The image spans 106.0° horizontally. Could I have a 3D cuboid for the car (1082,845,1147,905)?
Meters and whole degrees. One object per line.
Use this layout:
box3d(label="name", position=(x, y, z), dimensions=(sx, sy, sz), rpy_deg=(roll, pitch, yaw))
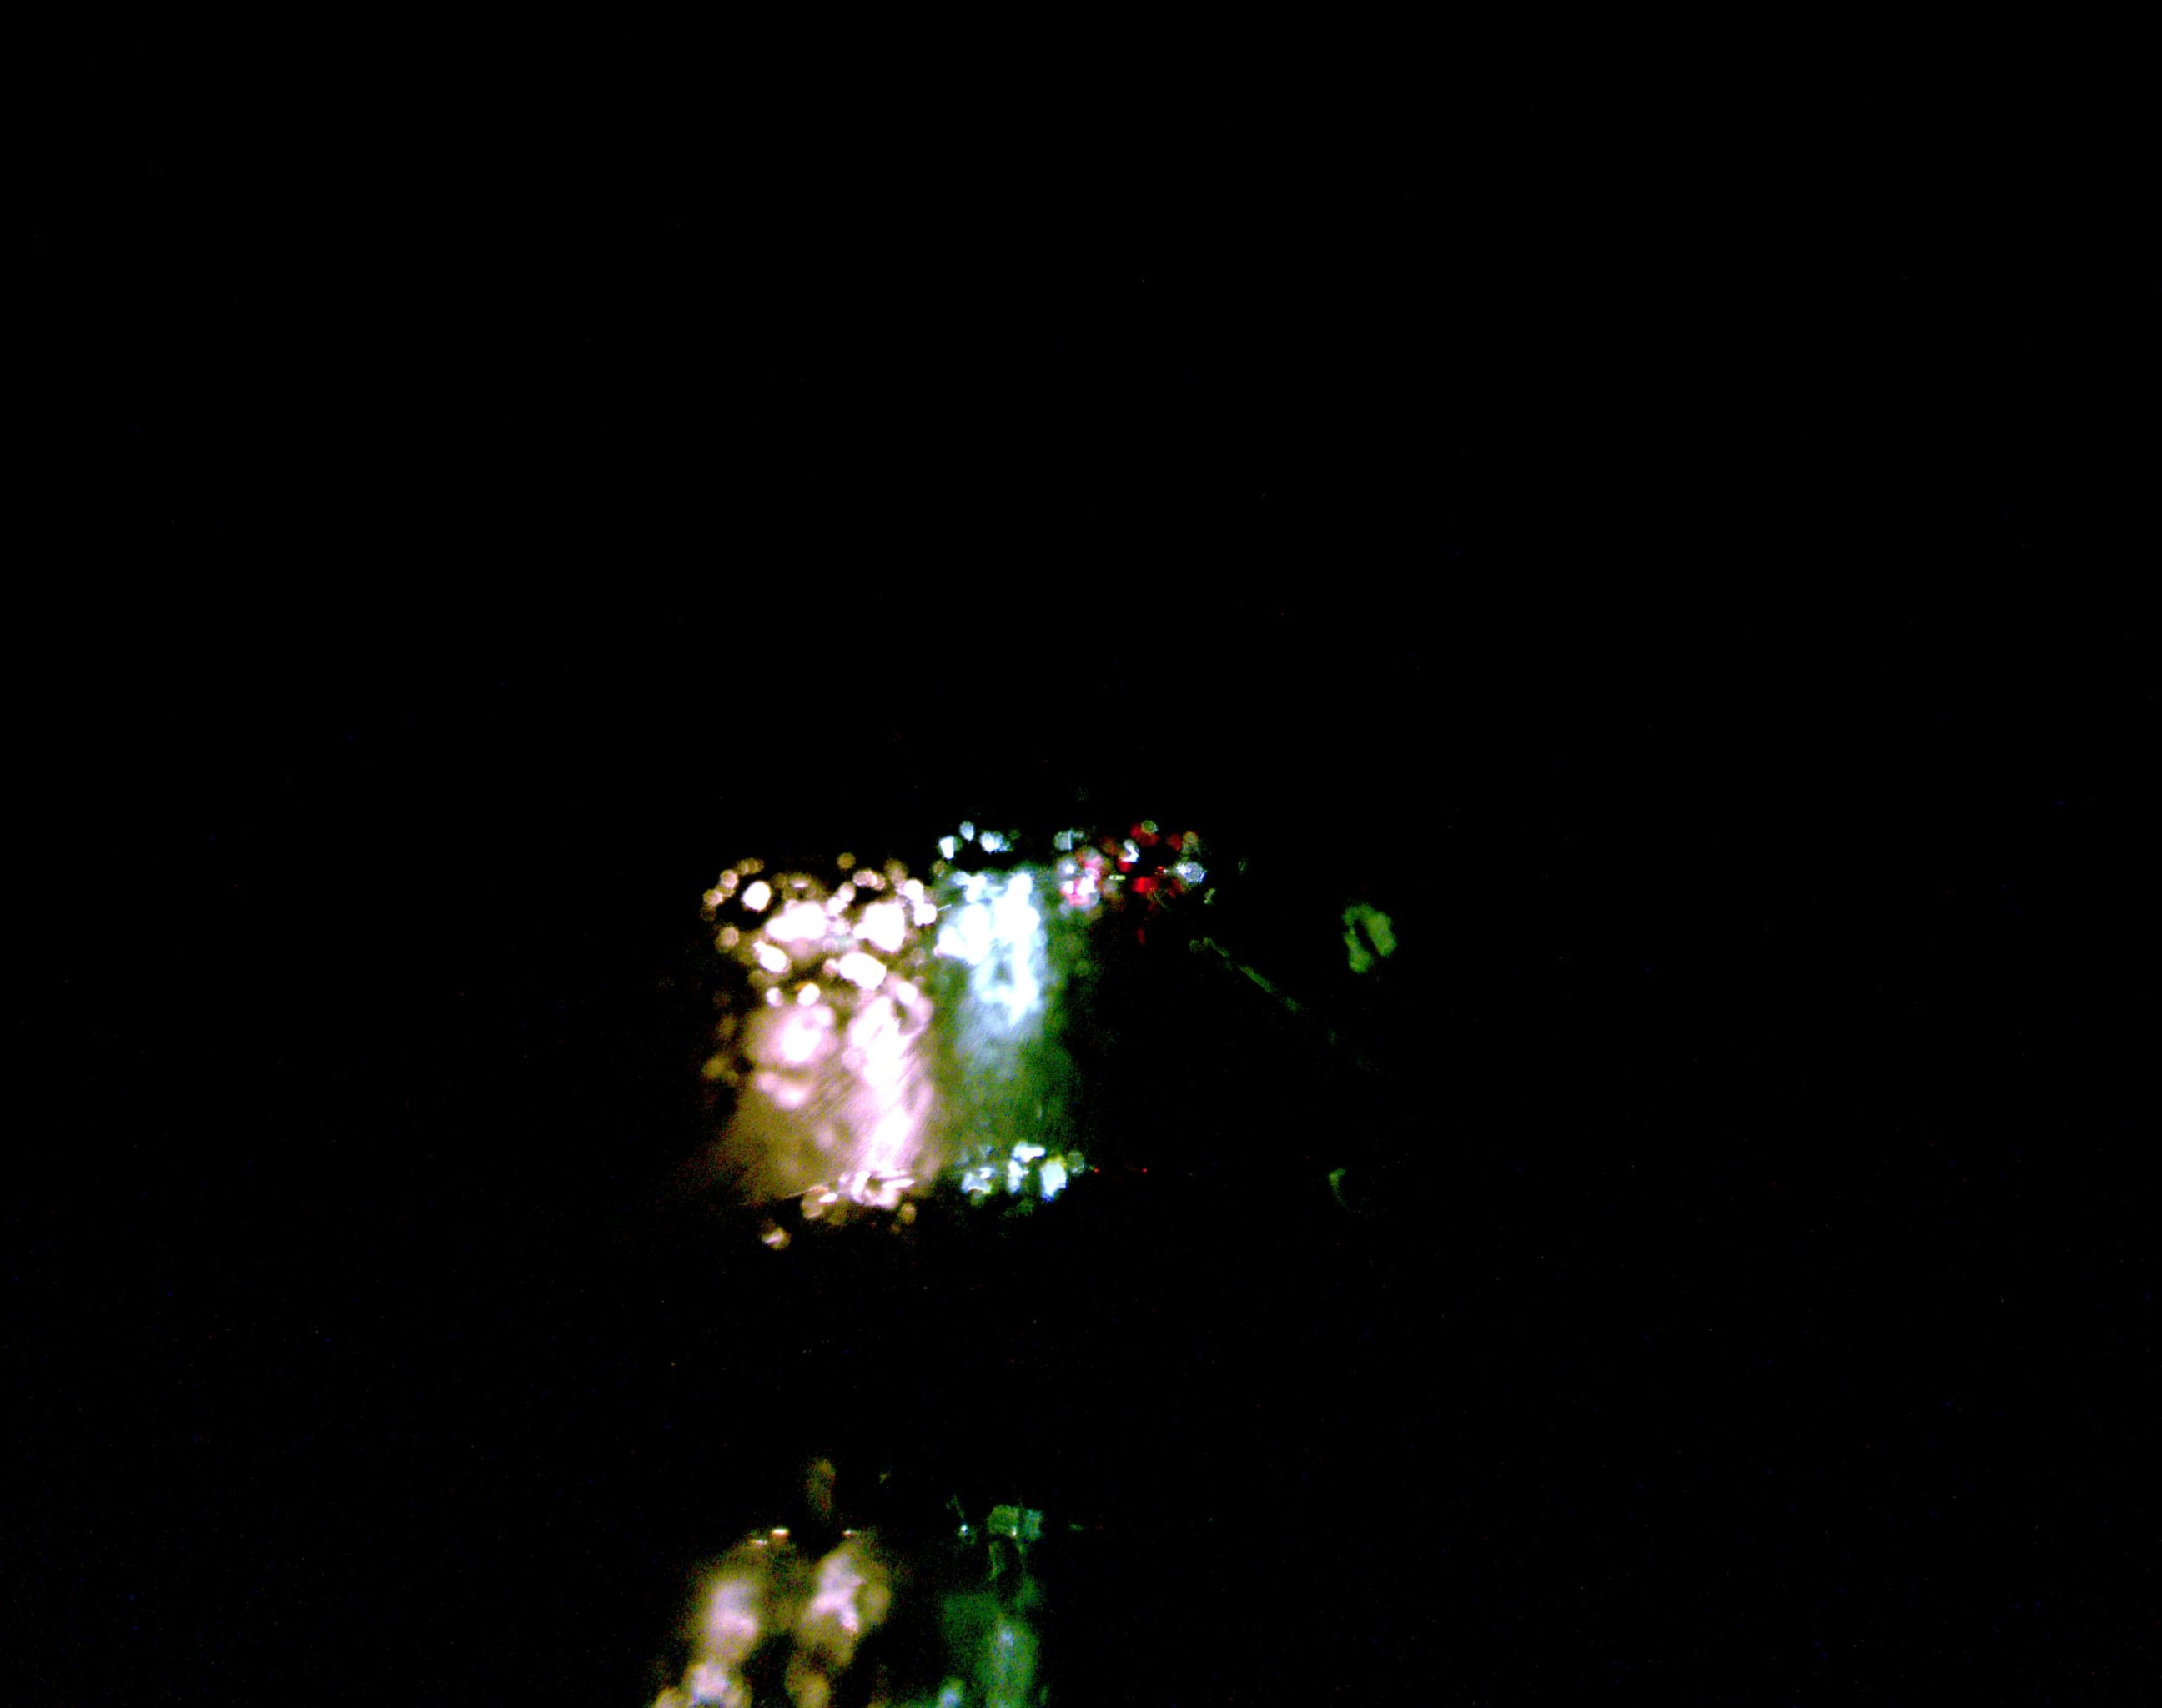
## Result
box3d(label="car", position=(1.134, 0.661, 27.376), dimensions=(1.985, 1.807, 3.920), rpy_deg=(-2, 0, 3))

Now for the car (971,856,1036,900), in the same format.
box3d(label="car", position=(-2.772, 0.814, 30.022), dimensions=(1.748, 1.405, 4.490), rpy_deg=(1, 1, 3))

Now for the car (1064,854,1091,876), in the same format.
box3d(label="car", position=(-0.204, 0.778, 60.470), dimensions=(1.757, 1.542, 4.152), rpy_deg=(0, 0, 3))

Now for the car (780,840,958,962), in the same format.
box3d(label="car", position=(-3.068, 0.613, 12.529), dimensions=(1.656, 1.560, 3.562), rpy_deg=(-2, 0, 2))
